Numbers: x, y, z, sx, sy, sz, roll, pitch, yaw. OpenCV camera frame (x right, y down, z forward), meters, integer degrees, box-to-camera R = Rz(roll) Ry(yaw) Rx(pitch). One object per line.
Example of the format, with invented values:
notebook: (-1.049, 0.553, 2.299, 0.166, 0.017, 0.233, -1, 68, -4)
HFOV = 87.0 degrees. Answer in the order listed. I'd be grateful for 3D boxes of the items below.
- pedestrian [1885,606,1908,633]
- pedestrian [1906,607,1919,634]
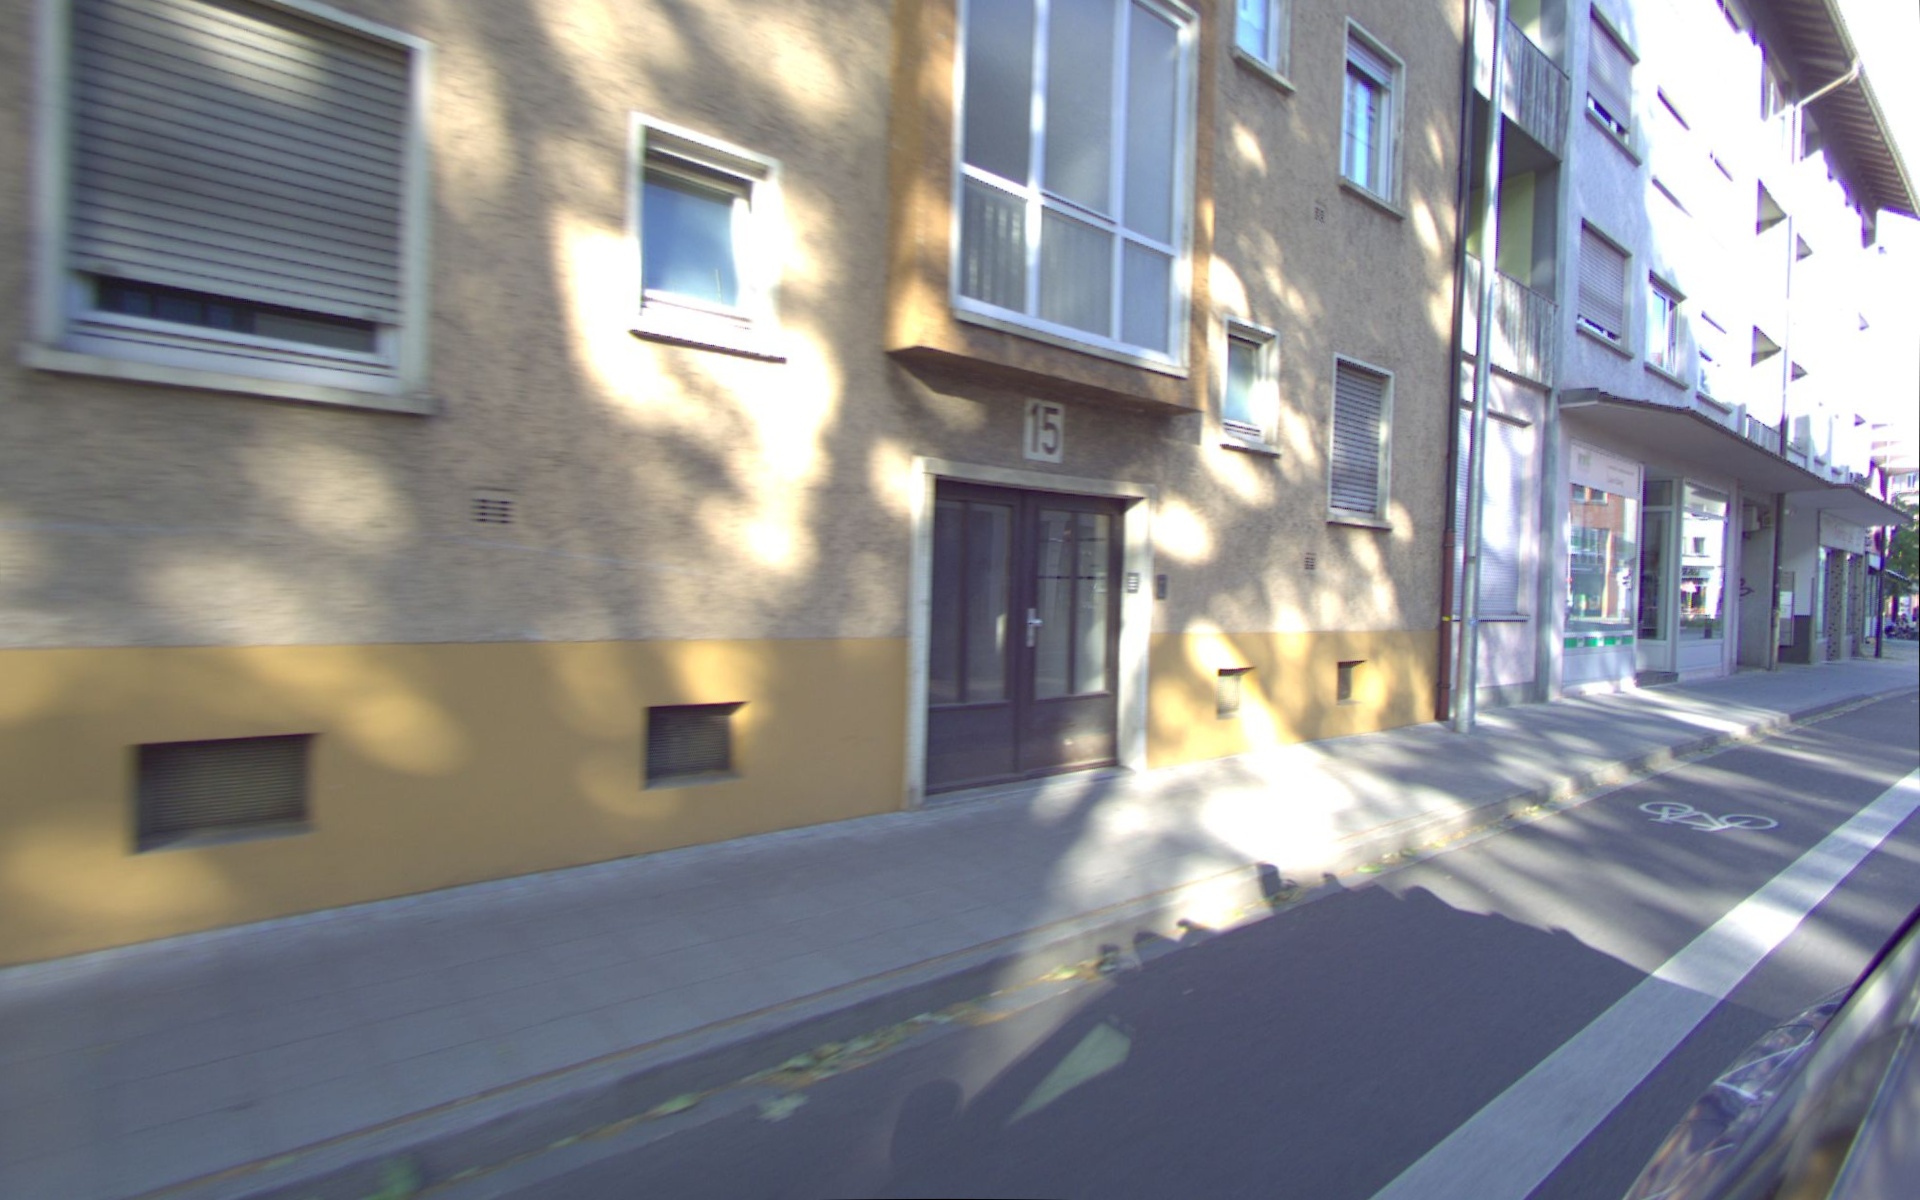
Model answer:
pedestrian: (46.843, 0.960, 50.618, 0.705, 1.257, 0.755, 6, 4, 40)
pedestrian: (47.418, 1.022, 50.109, 0.705, 1.247, 0.760, 6, 4, 41)
